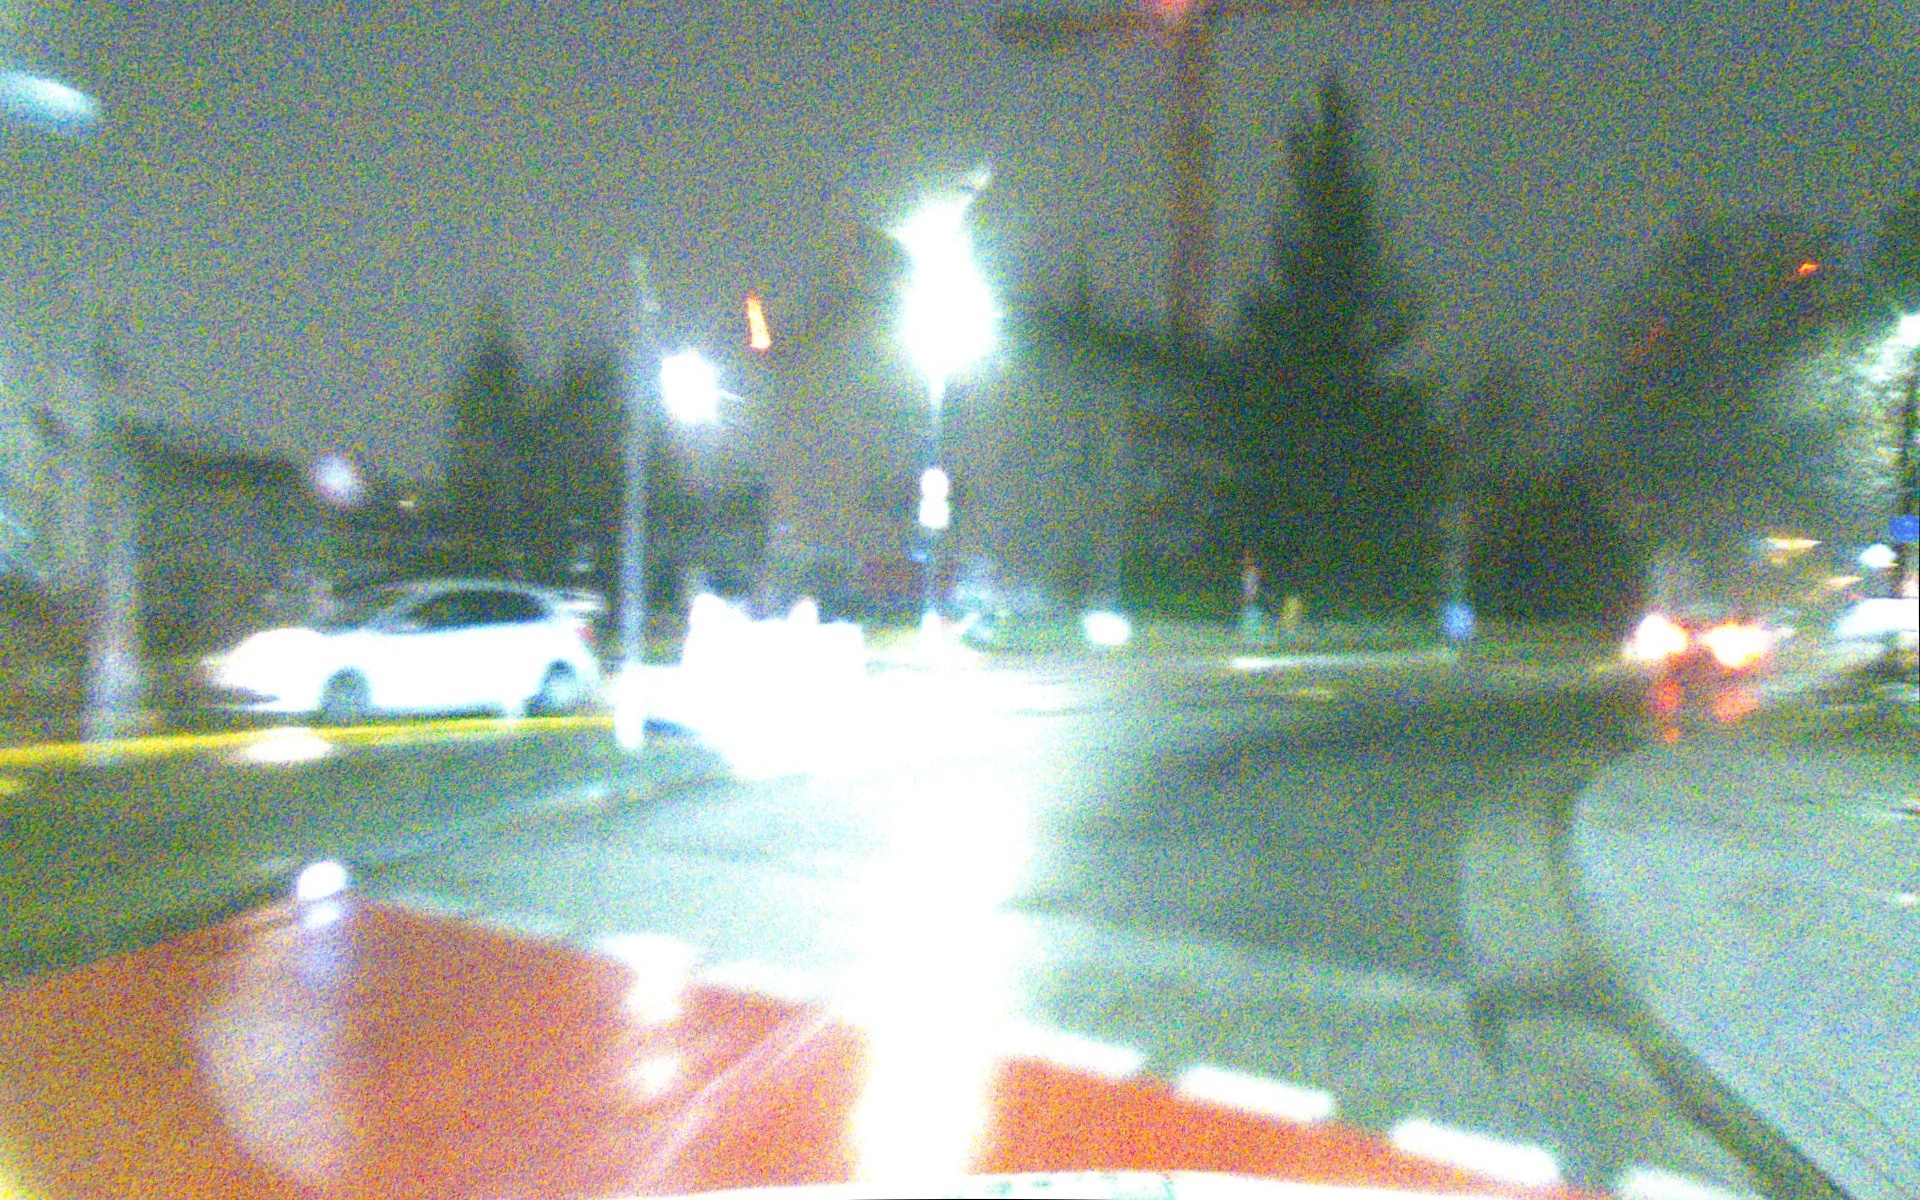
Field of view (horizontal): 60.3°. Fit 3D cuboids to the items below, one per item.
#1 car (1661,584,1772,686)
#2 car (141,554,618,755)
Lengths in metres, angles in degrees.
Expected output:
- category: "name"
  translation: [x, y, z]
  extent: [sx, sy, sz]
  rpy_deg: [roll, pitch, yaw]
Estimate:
- category: "car"
  translation: [16.923, 0.748, 36.899]
  extent: [1.955, 2.048, 4.551]
  rpy_deg: [3, 1, 27]
- category: "car"
  translation: [-5.942, 0.520, 17.356]
  extent: [1.844, 1.788, 4.370]
  rpy_deg: [3, 1, 40]
